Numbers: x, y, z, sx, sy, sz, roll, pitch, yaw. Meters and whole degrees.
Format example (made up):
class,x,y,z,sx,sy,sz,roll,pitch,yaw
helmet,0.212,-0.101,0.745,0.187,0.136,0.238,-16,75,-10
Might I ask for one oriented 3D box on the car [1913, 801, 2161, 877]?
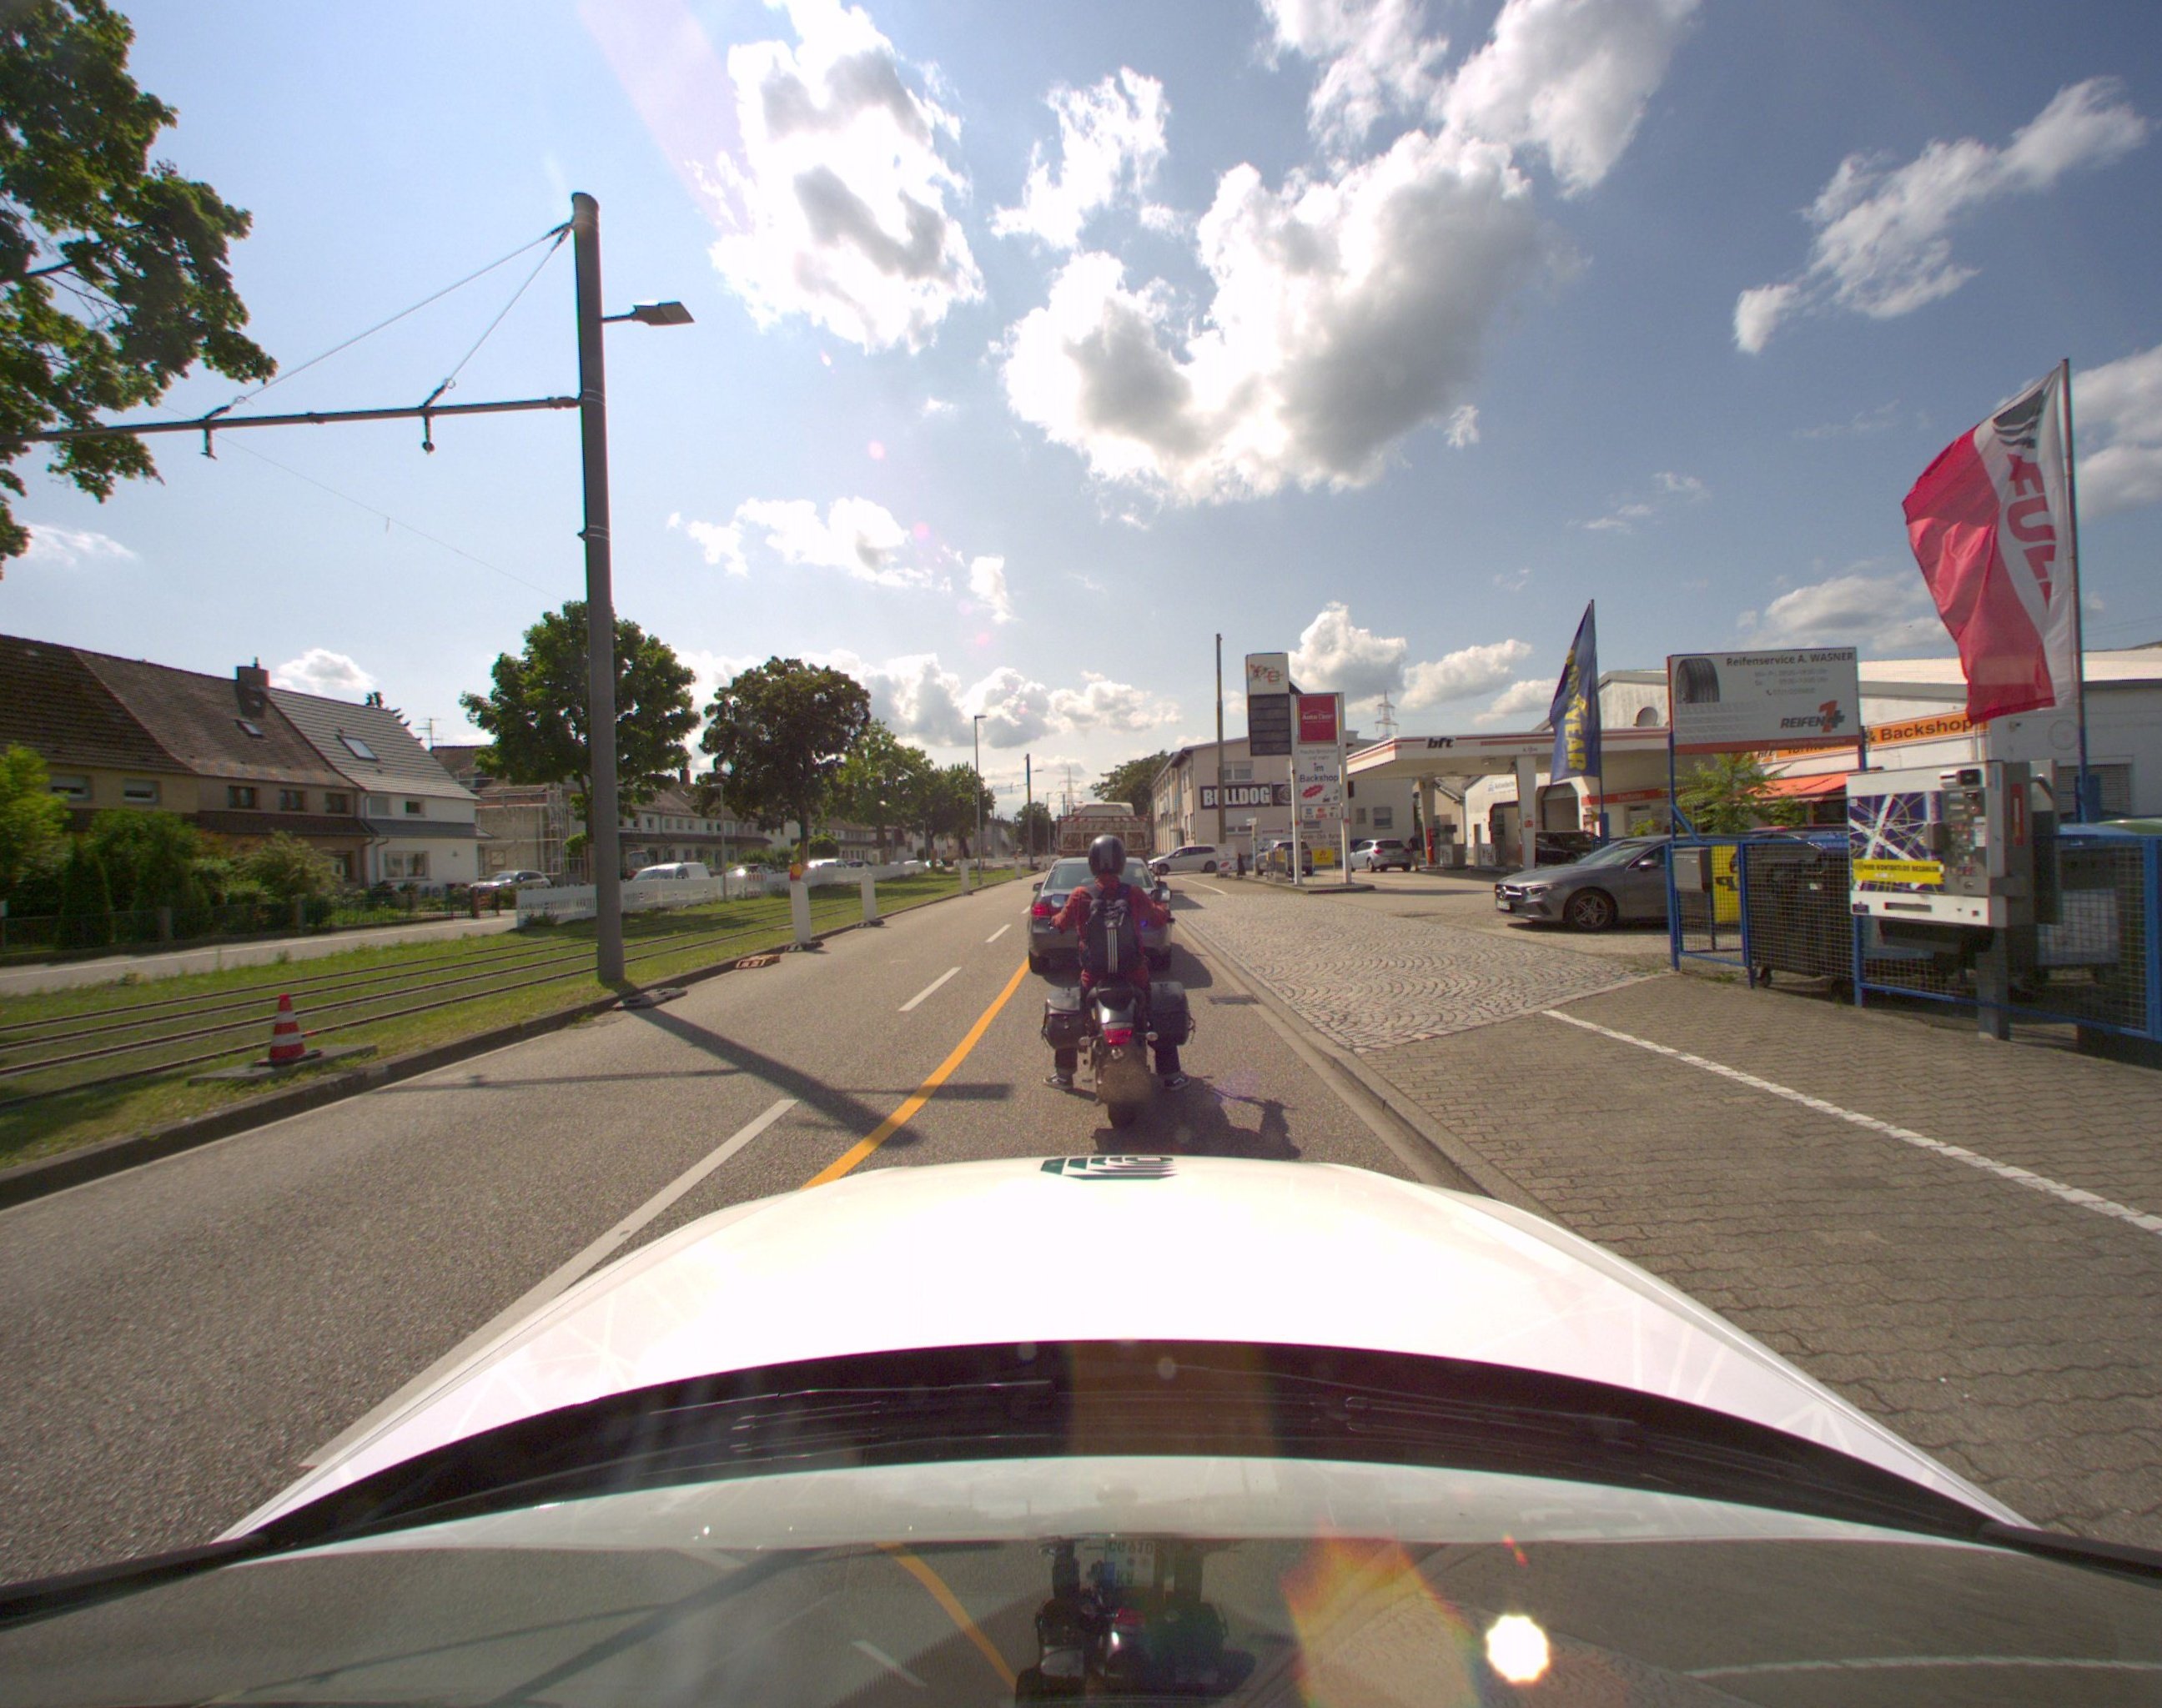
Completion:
class,x,y,z,sx,sy,sz,roll,pitch,yaw
car,21.525,-0.342,18.166,4.180,1.463,1.587,-2,0,2

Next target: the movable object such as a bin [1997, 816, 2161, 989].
class,x,y,z,sx,sy,sz,roll,pitch,yaw
movable object such as a bin,9.489,0.373,7.131,1.397,1.396,1.338,-2,0,1

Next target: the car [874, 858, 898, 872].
class,x,y,z,sx,sy,sz,roll,pitch,yaw
car,-25.162,1.398,105.202,1.769,1.722,4.130,-2,0,2

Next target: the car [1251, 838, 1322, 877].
class,x,y,z,sx,sy,sz,roll,pitch,yaw
car,9.118,0.148,36.453,1.665,1.562,4.235,-2,0,-6

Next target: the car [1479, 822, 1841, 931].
class,x,y,z,sx,sy,sz,roll,pitch,yaw
car,8.707,0.332,12.578,4.250,1.415,1.677,-2,0,6

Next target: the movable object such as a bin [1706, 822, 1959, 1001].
class,x,y,z,sx,sy,sz,roll,pitch,yaw
movable object such as a bin,6.692,0.477,7.359,1.104,1.436,1.244,-2,0,1

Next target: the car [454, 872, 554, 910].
class,x,y,z,sx,sy,sz,roll,pitch,yaw
car,-27.436,1.724,38.893,1.769,1.519,4.002,-2,0,2

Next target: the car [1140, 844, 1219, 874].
class,x,y,z,sx,sy,sz,roll,pitch,yaw
car,5.646,0.291,47.067,4.225,1.543,1.669,-2,0,-7

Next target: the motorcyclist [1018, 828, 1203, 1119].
class,x,y,z,sx,sy,sz,roll,pitch,yaw
motorcyclist,0.183,0.674,5.141,0.975,1.602,1.088,-2,0,1

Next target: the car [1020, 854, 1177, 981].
class,x,y,z,sx,sy,sz,roll,pitch,yaw
car,0.262,0.740,11.469,1.816,1.452,4.002,0,0,2

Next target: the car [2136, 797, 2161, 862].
class,x,y,z,sx,sy,sz,roll,pitch,yaw
car,26.528,-0.638,18.003,4.180,1.463,1.587,-2,0,2

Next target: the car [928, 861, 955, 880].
class,x,y,z,sx,sy,sz,roll,pitch,yaw
car,-13.729,1.629,80.454,1.769,1.722,4.130,-2,0,2

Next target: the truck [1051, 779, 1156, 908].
class,x,y,z,sx,sy,sz,roll,pitch,yaw
truck,0.729,-0.290,25.500,2.628,3.296,8.059,-2,0,2

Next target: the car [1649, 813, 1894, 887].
class,x,y,z,sx,sy,sz,roll,pitch,yaw
car,15.776,-0.090,18.758,4.180,1.463,1.587,-2,0,2

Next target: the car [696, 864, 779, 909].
class,x,y,z,sx,sy,sz,roll,pitch,yaw
car,-15.406,1.397,36.798,1.769,1.774,4.230,-2,0,2

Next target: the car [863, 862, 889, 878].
class,x,y,z,sx,sy,sz,roll,pitch,yaw
car,-24.390,1.836,97.041,1.769,1.722,4.130,-2,0,2

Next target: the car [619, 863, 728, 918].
class,x,y,z,sx,sy,sz,roll,pitch,yaw
car,-15.429,1.313,31.154,1.769,1.821,4.366,-2,0,2

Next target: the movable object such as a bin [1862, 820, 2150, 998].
class,x,y,z,sx,sy,sz,roll,pitch,yaw
movable object such as a bin,8.086,0.443,7.219,1.104,1.396,1.244,-2,0,1

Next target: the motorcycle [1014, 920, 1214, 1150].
class,x,y,z,sx,sy,sz,roll,pitch,yaw
motorcycle,0.207,1.023,5.445,0.975,0.897,2.654,-2,0,2

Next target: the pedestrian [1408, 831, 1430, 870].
class,x,y,z,sx,sy,sz,roll,pitch,yaw
pedestrian,14.654,-0.134,35.318,0.701,1.656,0.551,-2,0,37

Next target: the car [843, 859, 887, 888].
class,x,y,z,sx,sy,sz,roll,pitch,yaw
car,-14.804,1.333,56.037,1.769,1.805,4.130,-2,0,2

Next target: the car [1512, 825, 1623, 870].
class,x,y,z,sx,sy,sz,roll,pitch,yaw
car,17.917,-0.241,30.222,1.800,1.503,3.833,-2,0,0

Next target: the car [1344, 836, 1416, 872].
class,x,y,z,sx,sy,sz,roll,pitch,yaw
car,13.478,-0.010,36.920,1.800,1.503,3.832,-2,0,-1

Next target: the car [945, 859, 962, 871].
class,x,y,z,sx,sy,sz,roll,pitch,yaw
car,-19.636,1.631,125.916,1.769,1.722,4.130,-2,0,2

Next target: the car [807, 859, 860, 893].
class,x,y,z,sx,sy,sz,roll,pitch,yaw
car,-15.063,1.326,49.860,1.769,1.867,4.130,-2,0,2
